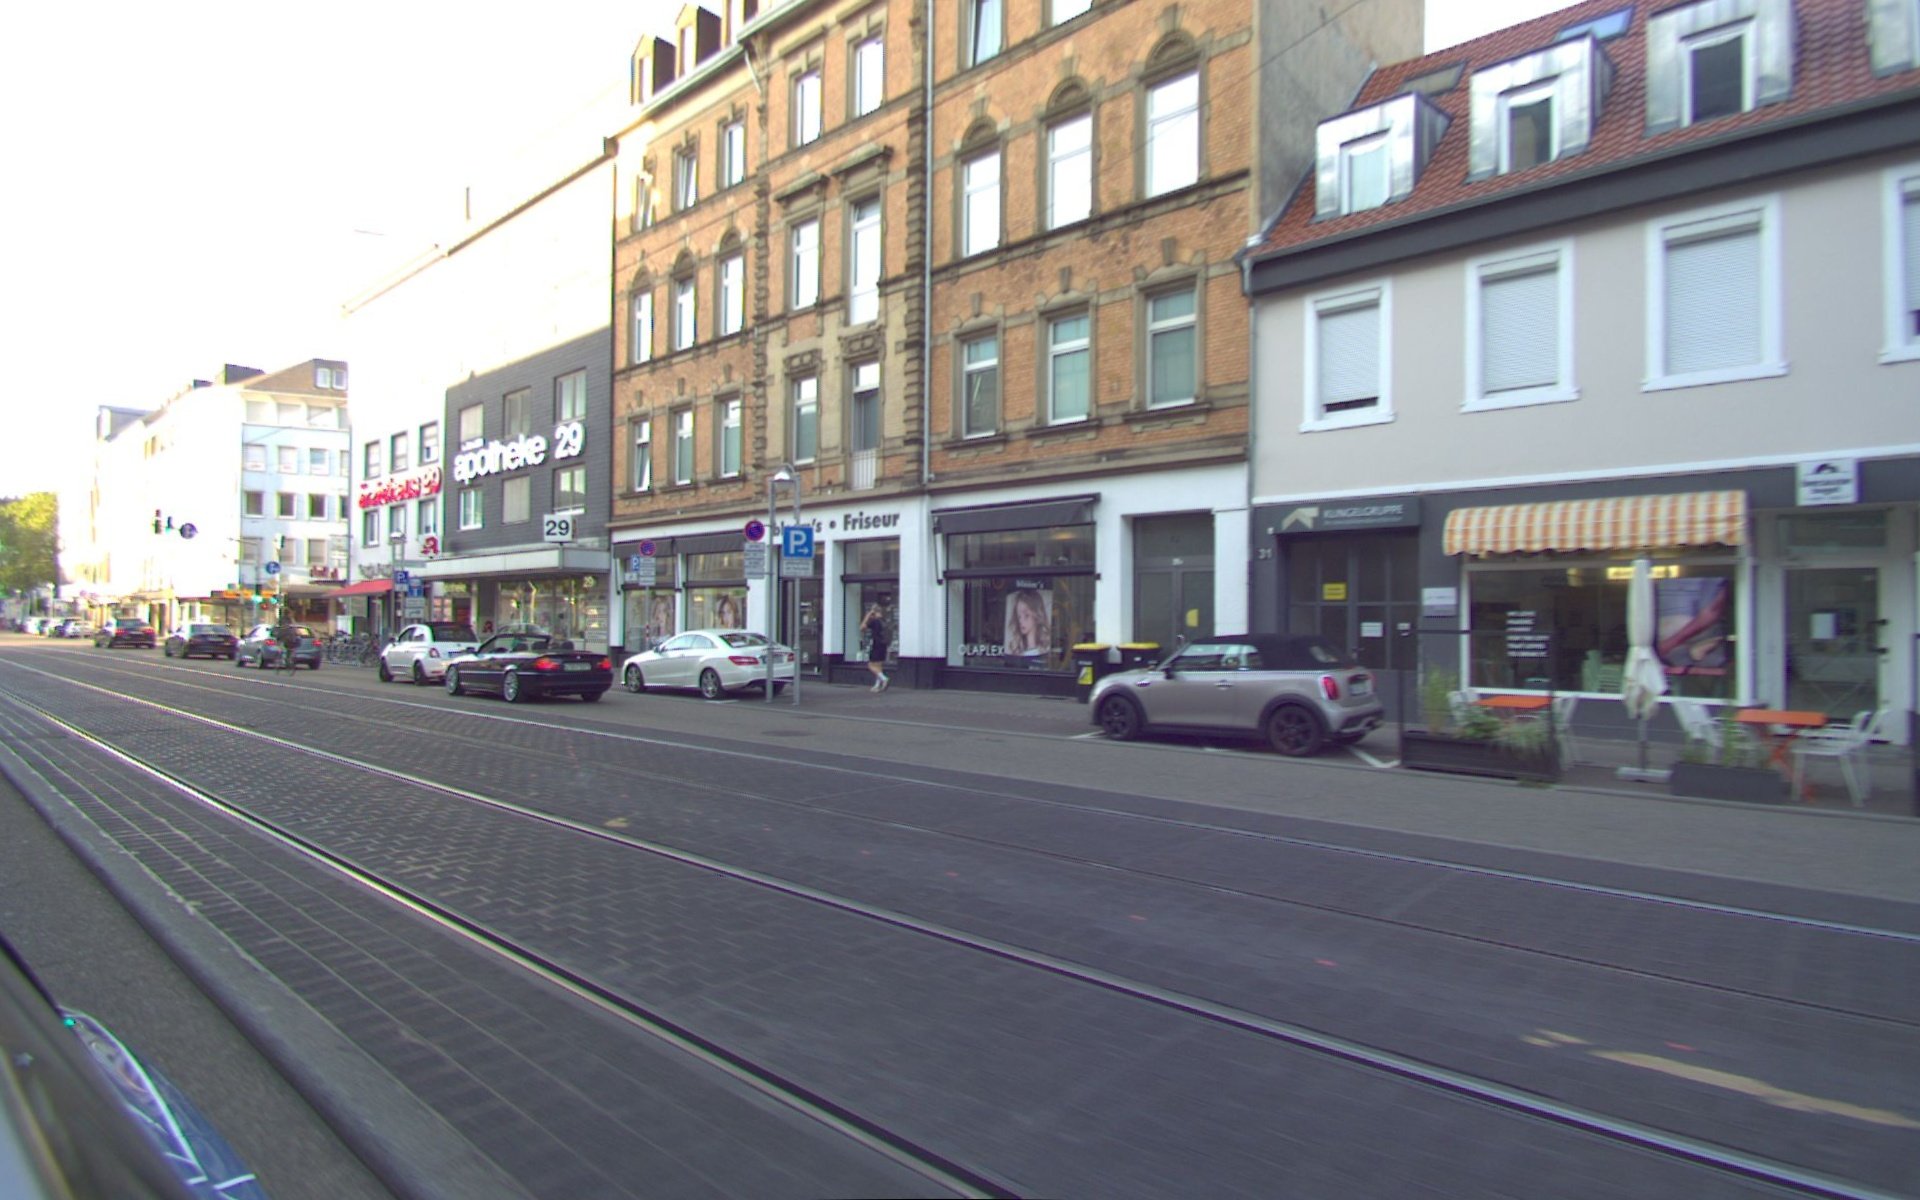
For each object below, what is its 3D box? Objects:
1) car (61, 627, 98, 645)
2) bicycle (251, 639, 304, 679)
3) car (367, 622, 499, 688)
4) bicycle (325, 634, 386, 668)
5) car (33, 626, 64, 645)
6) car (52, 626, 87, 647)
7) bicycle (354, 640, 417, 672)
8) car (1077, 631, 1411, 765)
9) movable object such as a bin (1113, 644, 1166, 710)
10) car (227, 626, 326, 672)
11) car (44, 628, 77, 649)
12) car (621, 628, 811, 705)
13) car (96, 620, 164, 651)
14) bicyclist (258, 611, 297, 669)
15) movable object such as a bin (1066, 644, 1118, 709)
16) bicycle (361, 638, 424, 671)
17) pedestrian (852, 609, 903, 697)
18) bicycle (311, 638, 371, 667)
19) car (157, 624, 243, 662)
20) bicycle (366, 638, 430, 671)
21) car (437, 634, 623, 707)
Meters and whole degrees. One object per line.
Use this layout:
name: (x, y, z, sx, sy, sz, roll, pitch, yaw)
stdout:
car: (-67.201, 2.715, 77.208, 4.002, 1.304, 1.822, -1, -2, 45)
bicycle: (-18.851, 1.605, 27.944, 2.080, 1.042, 0.686, -1, -2, 41)
car: (-13.037, 1.332, 24.968, 3.679, 1.517, 1.649, -1, -4, 42)
bicycle: (-22.562, 1.898, 37.788, 0.607, 1.143, 1.836, -1, 1, 42)
car: (-80.984, 3.178, 89.914, 4.002, 1.648, 1.822, -1, -2, 45)
car: (-70.638, 2.900, 80.285, 4.002, 1.648, 1.822, -1, -2, 45)
bicycle: (-20.034, 1.935, 35.295, 0.492, 0.991, 1.836, -1, 1, 42)
car: (3.611, 1.152, 13.278, 3.864, 1.400, 1.715, -1, 0, 43)
movable object such as a bin: (3.201, 1.358, 18.038, 0.728, 1.140, 0.583, -1, -3, 43)
car: (-22.196, 1.572, 32.810, 4.061, 1.397, 1.739, -1, -4, 43)
car: (-75.184, 3.191, 84.568, 4.002, 1.648, 1.822, -1, -2, 45)
car: (-5.252, 1.338, 21.488, 4.270, 1.400, 1.741, -1, 0, 40)
car: (-40.229, 1.706, 49.000, 4.563, 1.397, 1.894, -1, -4, 43)
bicyclist: (-18.877, 1.101, 27.996, 0.799, 1.577, 0.686, -1, -2, 41)
movable object such as a bin: (2.375, 1.361, 18.225, 0.728, 1.140, 0.583, -1, -3, 43)
bicycle: (-19.481, 1.867, 34.782, 0.462, 0.991, 1.836, -1, 1, 42)
pedestrian: (-1.714, 1.080, 21.050, 0.855, 1.786, 0.641, -1, -1, 43)
bicycle: (-23.660, 1.989, 38.689, 0.607, 0.991, 1.836, -1, 1, 42)
car: (-30.192, 1.700, 40.153, 4.563, 1.397, 1.894, -1, -4, 43)
bicycle: (-19.098, 1.850, 34.436, 0.462, 0.991, 1.836, -1, 1, 42)
car: (-8.434, 1.327, 19.684, 4.272, 1.237, 1.649, -1, -4, 42)
